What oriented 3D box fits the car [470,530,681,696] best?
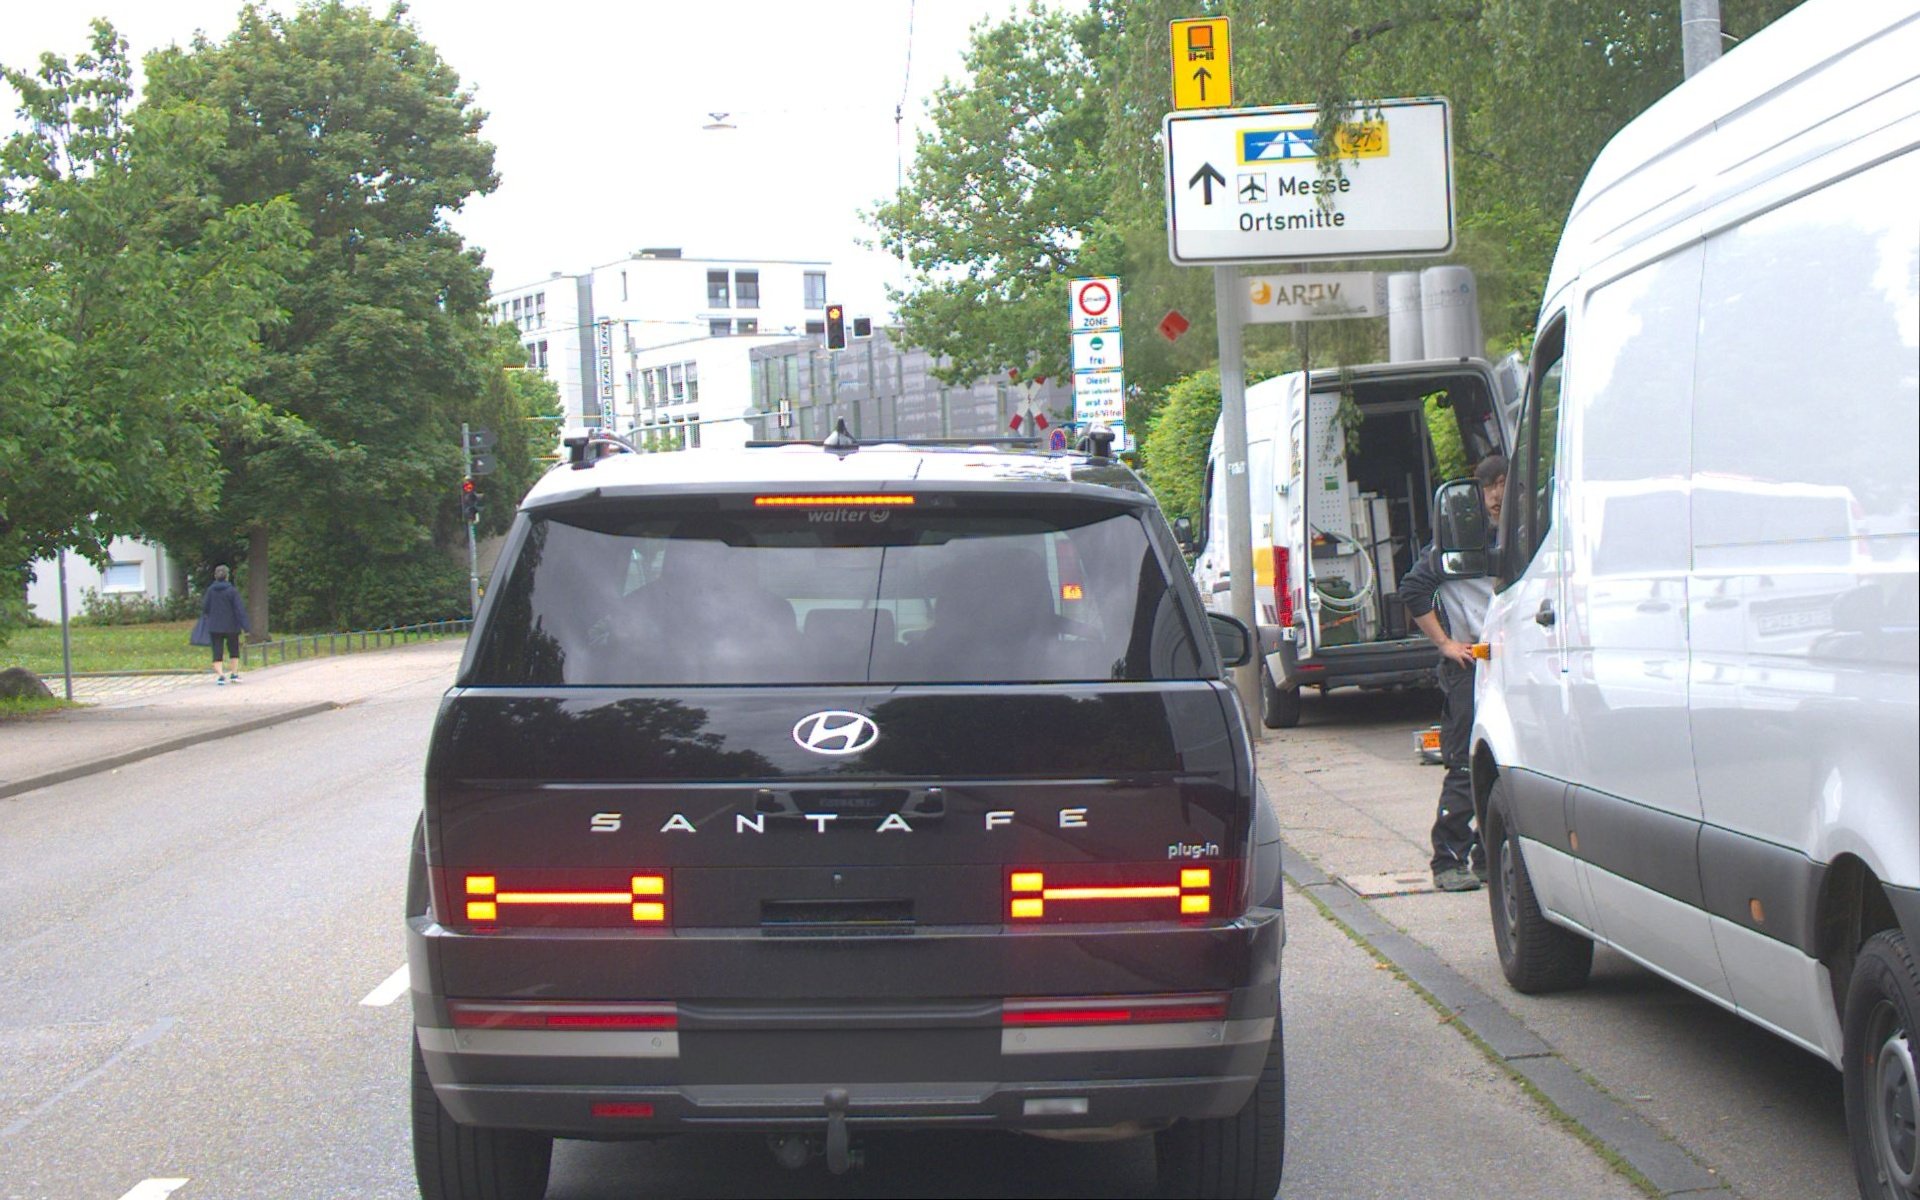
[{"bbox_3d":[-4.334,0.103,39.335,1.859,1.651,4.306,-4,1,-1],"label":"car"}]

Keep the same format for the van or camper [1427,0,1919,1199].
[{"bbox_3d":[2.624,-0.082,8.146,1.993,2.611,6.541,-2,1,-1],"label":"van or camper"}]

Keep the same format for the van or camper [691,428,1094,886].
[{"bbox_3d":[-0.326,0.224,17.502,1.754,2.007,4.000,-2,1,-1],"label":"van or camper"}]

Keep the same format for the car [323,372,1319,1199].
[{"bbox_3d":[-0.285,0.442,8.559,1.889,1.813,4.000,0,1,-1],"label":"car"}]

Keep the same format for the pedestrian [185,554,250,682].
[{"bbox_3d":[-10.165,0.240,47.082,0.738,1.709,0.793,-2,1,-7],"label":"pedestrian"}]

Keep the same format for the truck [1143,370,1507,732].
[{"bbox_3d":[2.833,-0.383,27.947,1.942,2.553,5.217,-4,1,-4],"label":"truck"}]

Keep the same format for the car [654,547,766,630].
[{"bbox_3d":[-4.899,-0.252,67.809,1.859,1.448,4.111,-4,1,-1],"label":"car"}]

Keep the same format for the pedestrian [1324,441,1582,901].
[{"bbox_3d":[1.987,0.274,13.951,0.870,1.791,0.760,-2,1,-1],"label":"pedestrian"}]
